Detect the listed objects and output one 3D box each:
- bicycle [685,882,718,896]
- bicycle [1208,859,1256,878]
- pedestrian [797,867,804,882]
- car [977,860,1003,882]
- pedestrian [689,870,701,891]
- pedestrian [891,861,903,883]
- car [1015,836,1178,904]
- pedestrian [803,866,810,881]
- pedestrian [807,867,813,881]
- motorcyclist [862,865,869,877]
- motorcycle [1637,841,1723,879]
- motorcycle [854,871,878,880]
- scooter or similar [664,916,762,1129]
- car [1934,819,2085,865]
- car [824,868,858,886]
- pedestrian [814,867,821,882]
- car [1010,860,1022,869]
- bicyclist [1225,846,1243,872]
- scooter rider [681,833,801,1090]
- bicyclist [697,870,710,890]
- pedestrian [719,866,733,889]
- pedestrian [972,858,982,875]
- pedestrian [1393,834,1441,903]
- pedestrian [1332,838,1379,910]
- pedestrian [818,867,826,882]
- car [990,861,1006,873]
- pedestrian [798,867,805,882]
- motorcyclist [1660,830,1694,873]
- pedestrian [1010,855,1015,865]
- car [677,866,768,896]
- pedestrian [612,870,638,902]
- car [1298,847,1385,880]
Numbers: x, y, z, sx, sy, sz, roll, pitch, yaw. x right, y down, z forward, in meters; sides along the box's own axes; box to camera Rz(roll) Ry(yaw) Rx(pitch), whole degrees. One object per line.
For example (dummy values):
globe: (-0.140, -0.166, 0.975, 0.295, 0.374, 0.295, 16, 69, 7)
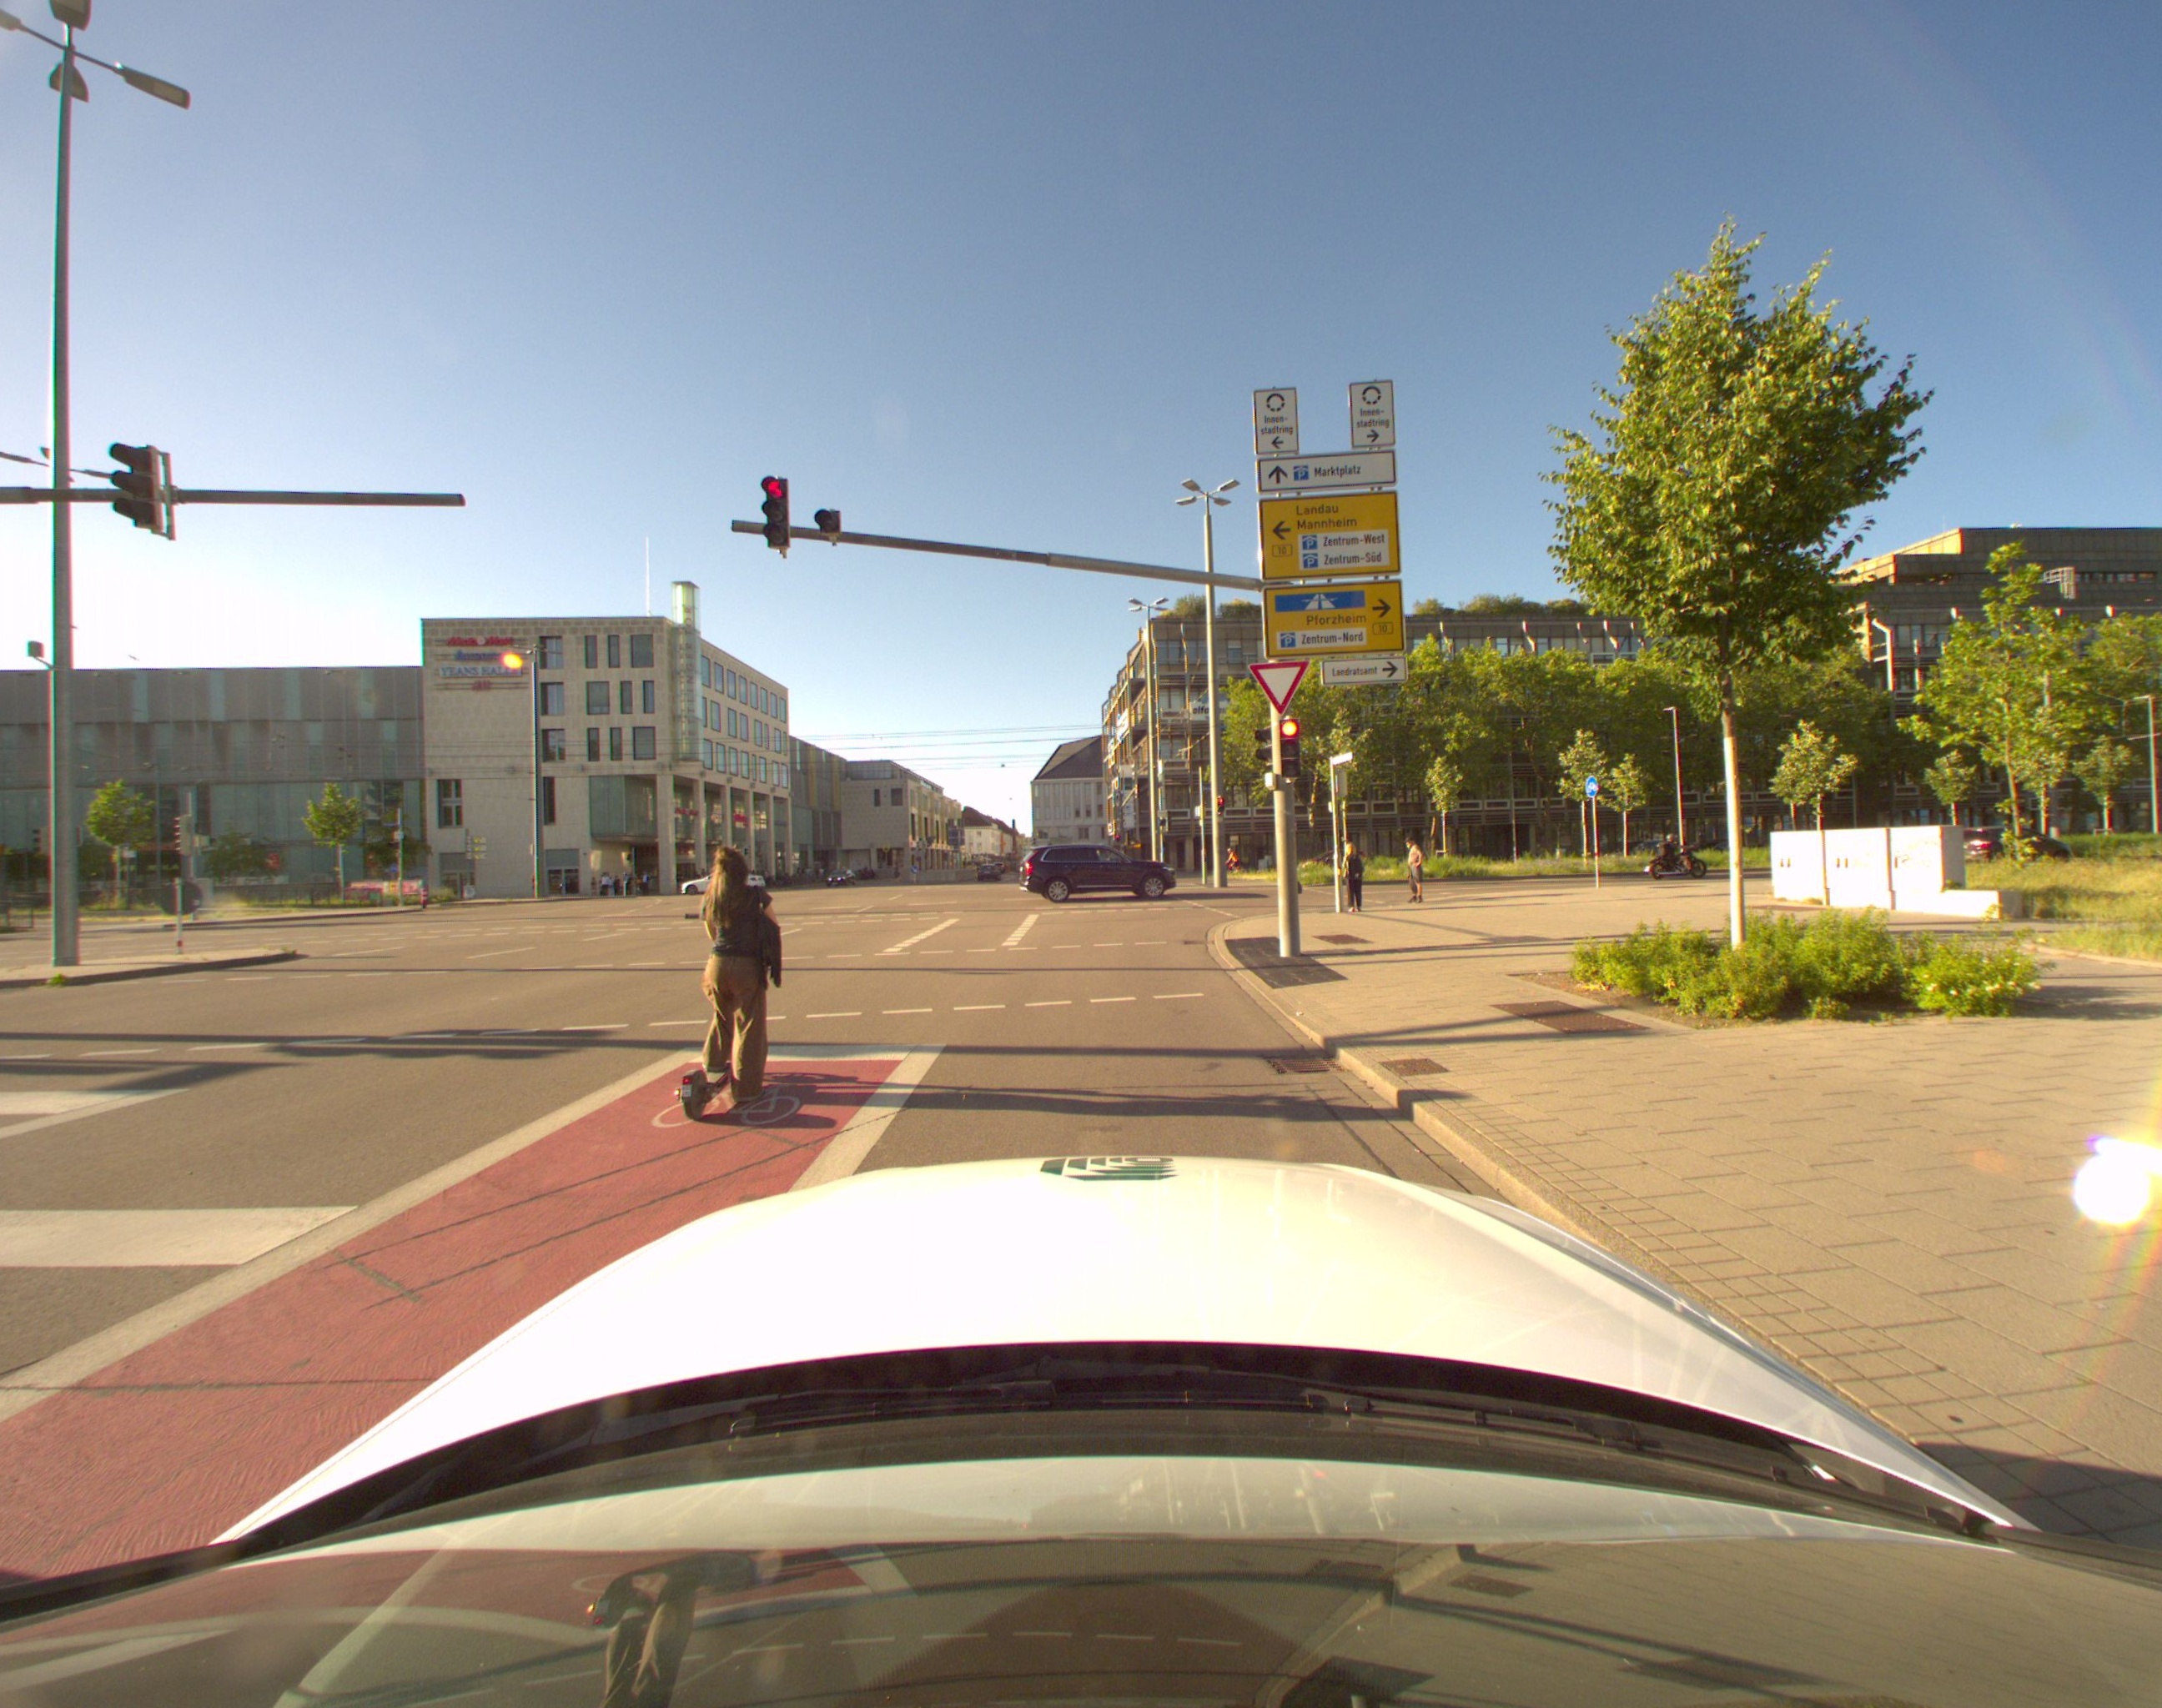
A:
bicycle: (-27.854, 2.558, 59.802, 0.629, 0.903, 2.232, -2, 0, 34)
bicycle: (8.705, 0.819, 47.052, 2.561, 0.975, 1.047, -2, 0, -1)
pedestrian: (-32.466, 2.407, 94.287, 0.465, 1.729, 0.524, -1, -1, 40)
car: (-7.678, 1.388, 68.683, 1.815, 1.684, 3.997, -2, 0, -2)
pedestrian: (-30.545, 2.119, 64.518, 0.590, 1.646, 0.629, -2, 0, 1)
pedestrian: (-14.383, 1.367, 63.685, 0.697, 1.688, 0.620, -2, 0, 2)
car: (0.430, 0.467, 25.544, 4.816, 1.864, 1.880, -2, 0, -10)
pedestrian: (-31.154, 2.235, 92.430, 0.465, 1.729, 0.632, -1, -1, 35)
pedestrian: (-31.714, 2.314, 95.323, 0.465, 1.683, 0.524, -1, -1, 40)
motorcyclist: (-26.151, 2.092, 98.842, 0.627, 1.406, 0.661, 0, -1, -7)
motorcycle: (20.765, 0.186, 28.240, 2.591, 1.208, 0.728, -2, 1, -6)
motorcycle: (-26.039, 2.580, 98.669, 2.600, 0.993, 1.113, 0, -1, -8)
scooter or similar: (-2.210, 0.965, 4.953, 0.306, 1.107, 0.835, -2, 0, -9)
car: (33.657, -0.430, 29.584, 3.855, 1.510, 1.669, -2, 0, -6)
car: (-20.787, 1.981, 70.660, 1.670, 1.357, 4.021, -2, 0, 1)
pedestrian: (-30.874, 2.403, 95.326, 0.465, 1.729, 0.632, -1, -1, 30)
car: (-11.688, 1.830, 146.554, 1.652, 1.458, 3.543, -2, 0, 2)
bicyclist: (8.830, 0.306, 47.068, 0.820, 1.474, 0.652, -2, 0, -2)
scooter rider: (-2.140, 0.646, 5.166, 0.552, 1.530, 0.448, -2, 0, -7)
bicyclist: (-27.779, 1.914, 59.918, 0.620, 1.448, 0.592, -2, 0, 35)
pedestrian: (-29.416, 1.973, 67.493, 0.935, 1.864, 0.541, -2, 0, 18)
pedestrian: (-11.130, 1.321, 86.907, 0.896, 1.782, 0.809, -2, 0, 1)
pedestrian: (8.678, 0.368, 21.085, 0.869, 1.706, 0.768, -2, 0, 0)
pedestrian: (6.366, 0.446, 18.907, 0.763, 1.614, 0.874, -2, 0, 0)
pedestrian: (-29.696, 2.325, 93.337, 0.465, 1.729, 0.699, -1, -1, 40)
car: (-11.009, 1.749, 108.526, 1.652, 1.458, 3.543, -2, 0, 2)
pedestrian: (-32.720, 2.363, 95.295, 0.465, 1.729, 0.524, -1, -1, 40)
motorcyclist: (20.637, -0.094, 28.209, 0.656, 1.423, 0.647, -2, 1, -6)
pedestrian: (-13.890, 1.189, 165.261, 0.907, 1.965, 0.823, 0, -1, 1)
car: (-22.477, 1.671, 51.170, 4.829, 1.684, 1.825, -2, 0, 0)
pedestrian: (-25.126, 1.765, 44.910, 0.821, 1.675, 1.004, -2, 0, -2)
car: (14.769, 0.521, 46.248, 4.287, 1.684, 1.820, -2, 0, -9)
